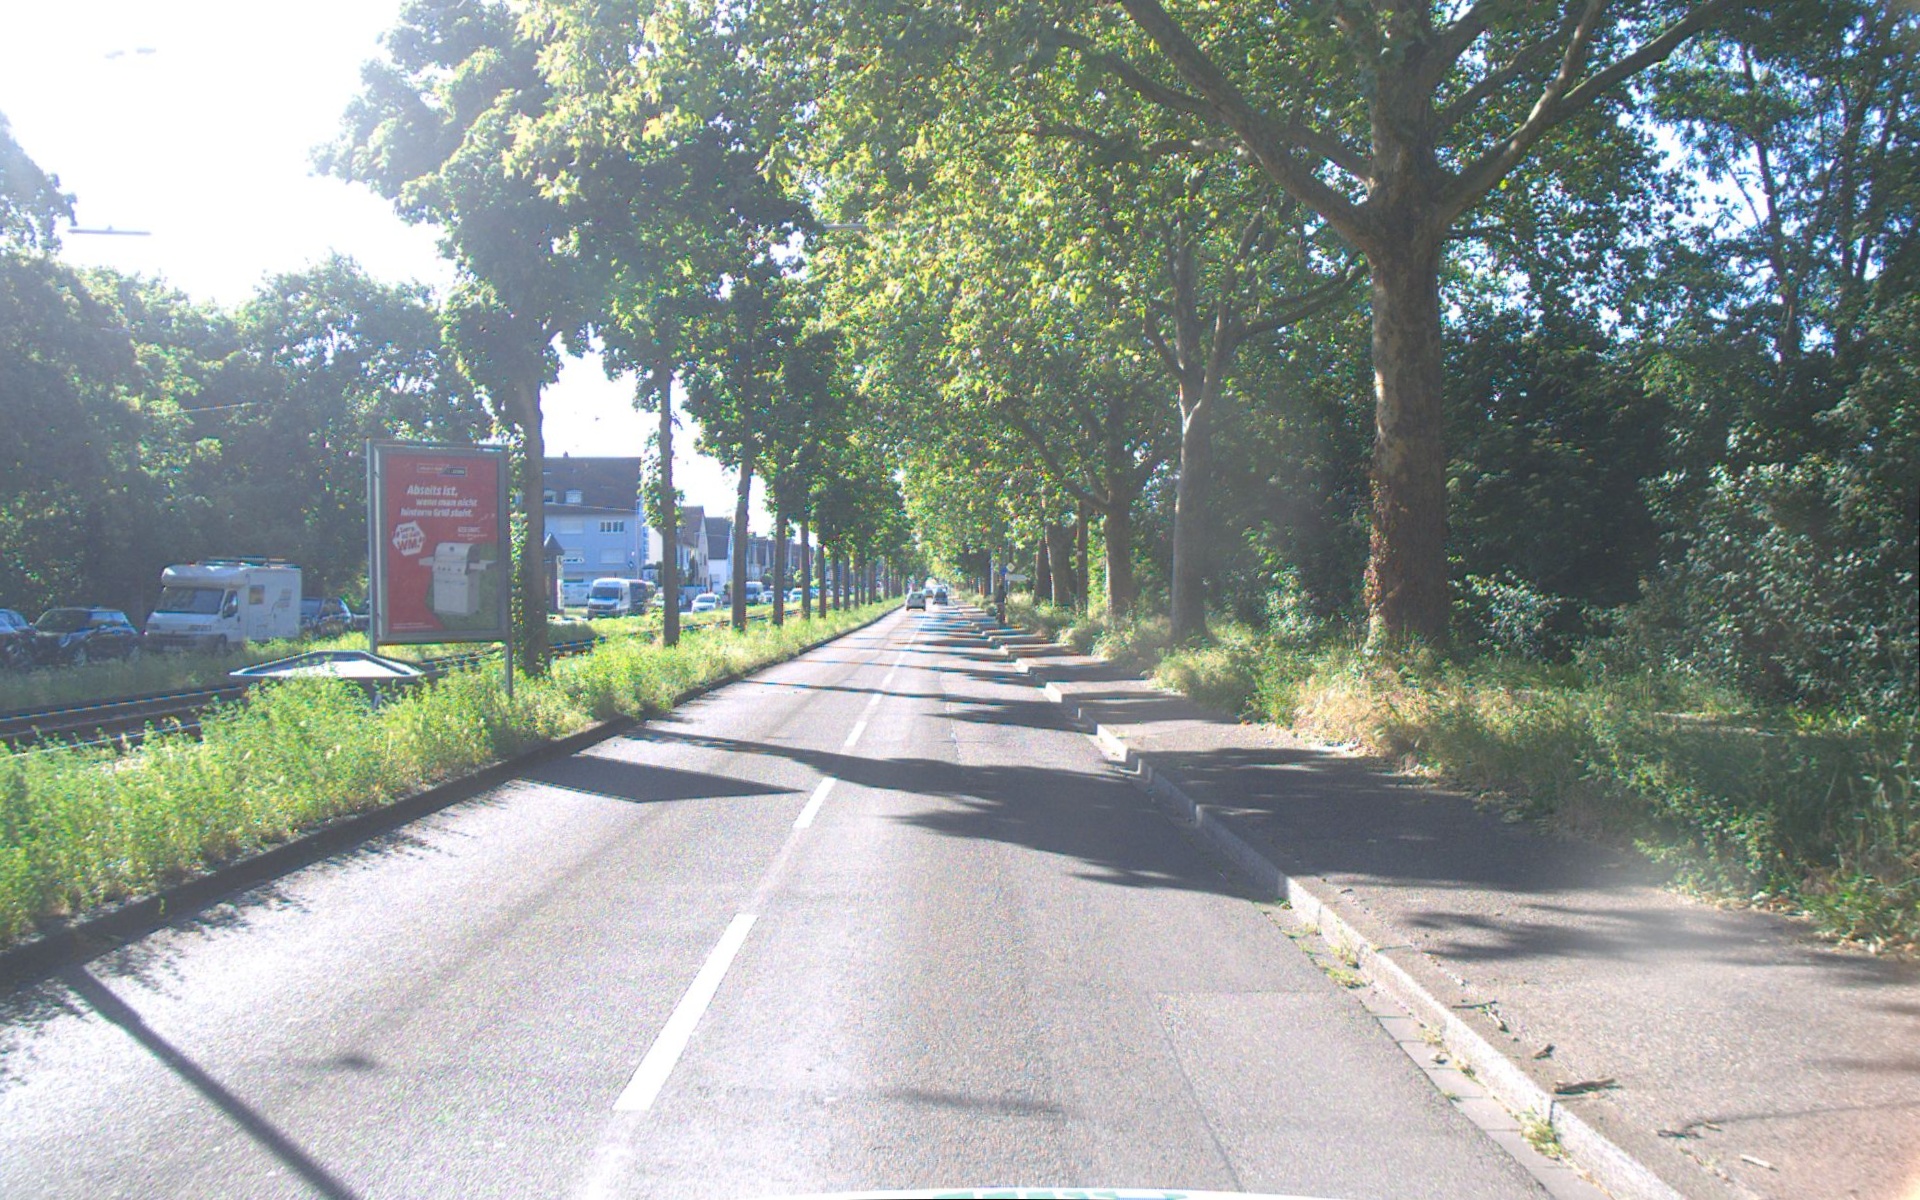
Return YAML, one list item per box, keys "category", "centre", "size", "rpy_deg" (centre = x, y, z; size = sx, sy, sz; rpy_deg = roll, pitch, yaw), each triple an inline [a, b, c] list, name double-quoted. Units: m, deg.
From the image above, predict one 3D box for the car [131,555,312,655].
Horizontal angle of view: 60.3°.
- category: "car"
  centre: [-20.998, 0.101, 47.429]
  size: [2.180, 2.625, 6.798]
  rpy_deg: [1, 0, -1]

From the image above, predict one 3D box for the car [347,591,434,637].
- category: "car"
  centre: [-20.946, 0.522, 60.982]
  size: [1.640, 1.612, 4.248]
  rpy_deg: [1, 0, 1]

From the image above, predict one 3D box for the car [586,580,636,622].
- category: "car"
  centre: [-22.063, 0.058, 104.797]
  size: [1.961, 2.540, 6.135]
  rpy_deg: [1, 0, -1]

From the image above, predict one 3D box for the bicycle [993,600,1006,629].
- category: "bicycle"
  centre: [1.671, 0.607, 70.135]
  size: [0.431, 1.173, 1.823]
  rpy_deg: [-1, 0, -1]

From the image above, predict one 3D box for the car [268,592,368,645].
- category: "car"
  centre: [-21.215, 0.585, 54.823]
  size: [1.589, 1.651, 4.532]
  rpy_deg: [1, 0, -1]

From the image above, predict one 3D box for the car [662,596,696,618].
- category: "car"
  centre: [-21.383, 0.525, 125.892]
  size: [1.785, 1.635, 4.773]
  rpy_deg: [1, 0, 0]

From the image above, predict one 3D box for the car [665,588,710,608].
- category: "car"
  centre: [-28.073, -0.228, 170.472]
  size: [4.535, 1.979, 1.994]
  rpy_deg: [0, 0, -12]

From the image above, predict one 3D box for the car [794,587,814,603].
- category: "car"
  centre: [-17.863, -0.526, 189.311]
  size: [1.774, 1.775, 4.981]
  rpy_deg: [1, 0, -1]

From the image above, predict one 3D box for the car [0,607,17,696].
- category: "car"
  centre: [-17.272, 0.912, 26.502]
  size: [1.603, 1.521, 4.592]
  rpy_deg: [-3, 0, 1]

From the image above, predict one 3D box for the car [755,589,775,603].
- category: "car"
  centre: [-23.995, -0.494, 203.872]
  size: [1.953, 1.609, 4.498]
  rpy_deg: [1, 1, 0]

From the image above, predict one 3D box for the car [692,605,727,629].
- category: "car"
  centre: [-17.201, 1.155, 113.826]
  size: [1.691, 1.555, 4.442]
  rpy_deg: [1, 0, 0]

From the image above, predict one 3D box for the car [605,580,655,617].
- category: "car"
  centre: [-22.344, -0.068, 112.385]
  size: [2.138, 2.418, 6.463]
  rpy_deg: [1, 0, -1]

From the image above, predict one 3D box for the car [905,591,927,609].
- category: "car"
  centre: [-3.527, -0.012, 133.647]
  size: [1.703, 1.425, 3.276]
  rpy_deg: [1, 0, -1]

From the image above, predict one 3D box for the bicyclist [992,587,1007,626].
- category: "bicyclist"
  centre: [1.666, 0.274, 70.078]
  size: [0.601, 1.657, 0.909]
  rpy_deg: [-1, 0, -1]

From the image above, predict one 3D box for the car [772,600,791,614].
- category: "car"
  centre: [-18.074, 0.699, 167.516]
  size: [1.525, 1.419, 3.819]
  rpy_deg: [1, 0, -1]

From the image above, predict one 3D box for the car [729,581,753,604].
- category: "car"
  centre: [-24.337, -0.791, 184.024]
  size: [1.953, 2.502, 6.673]
  rpy_deg: [1, 0, -1]

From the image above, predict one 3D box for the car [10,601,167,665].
- category: "car"
  centre: [-21.218, 0.786, 40.468]
  size: [1.675, 1.460, 4.000]
  rpy_deg: [1, 0, 0]

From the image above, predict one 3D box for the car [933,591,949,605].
- category: "car"
  centre: [-2.161, -0.246, 184.977]
  size: [1.725, 1.539, 3.276]
  rpy_deg: [1, 0, 0]
